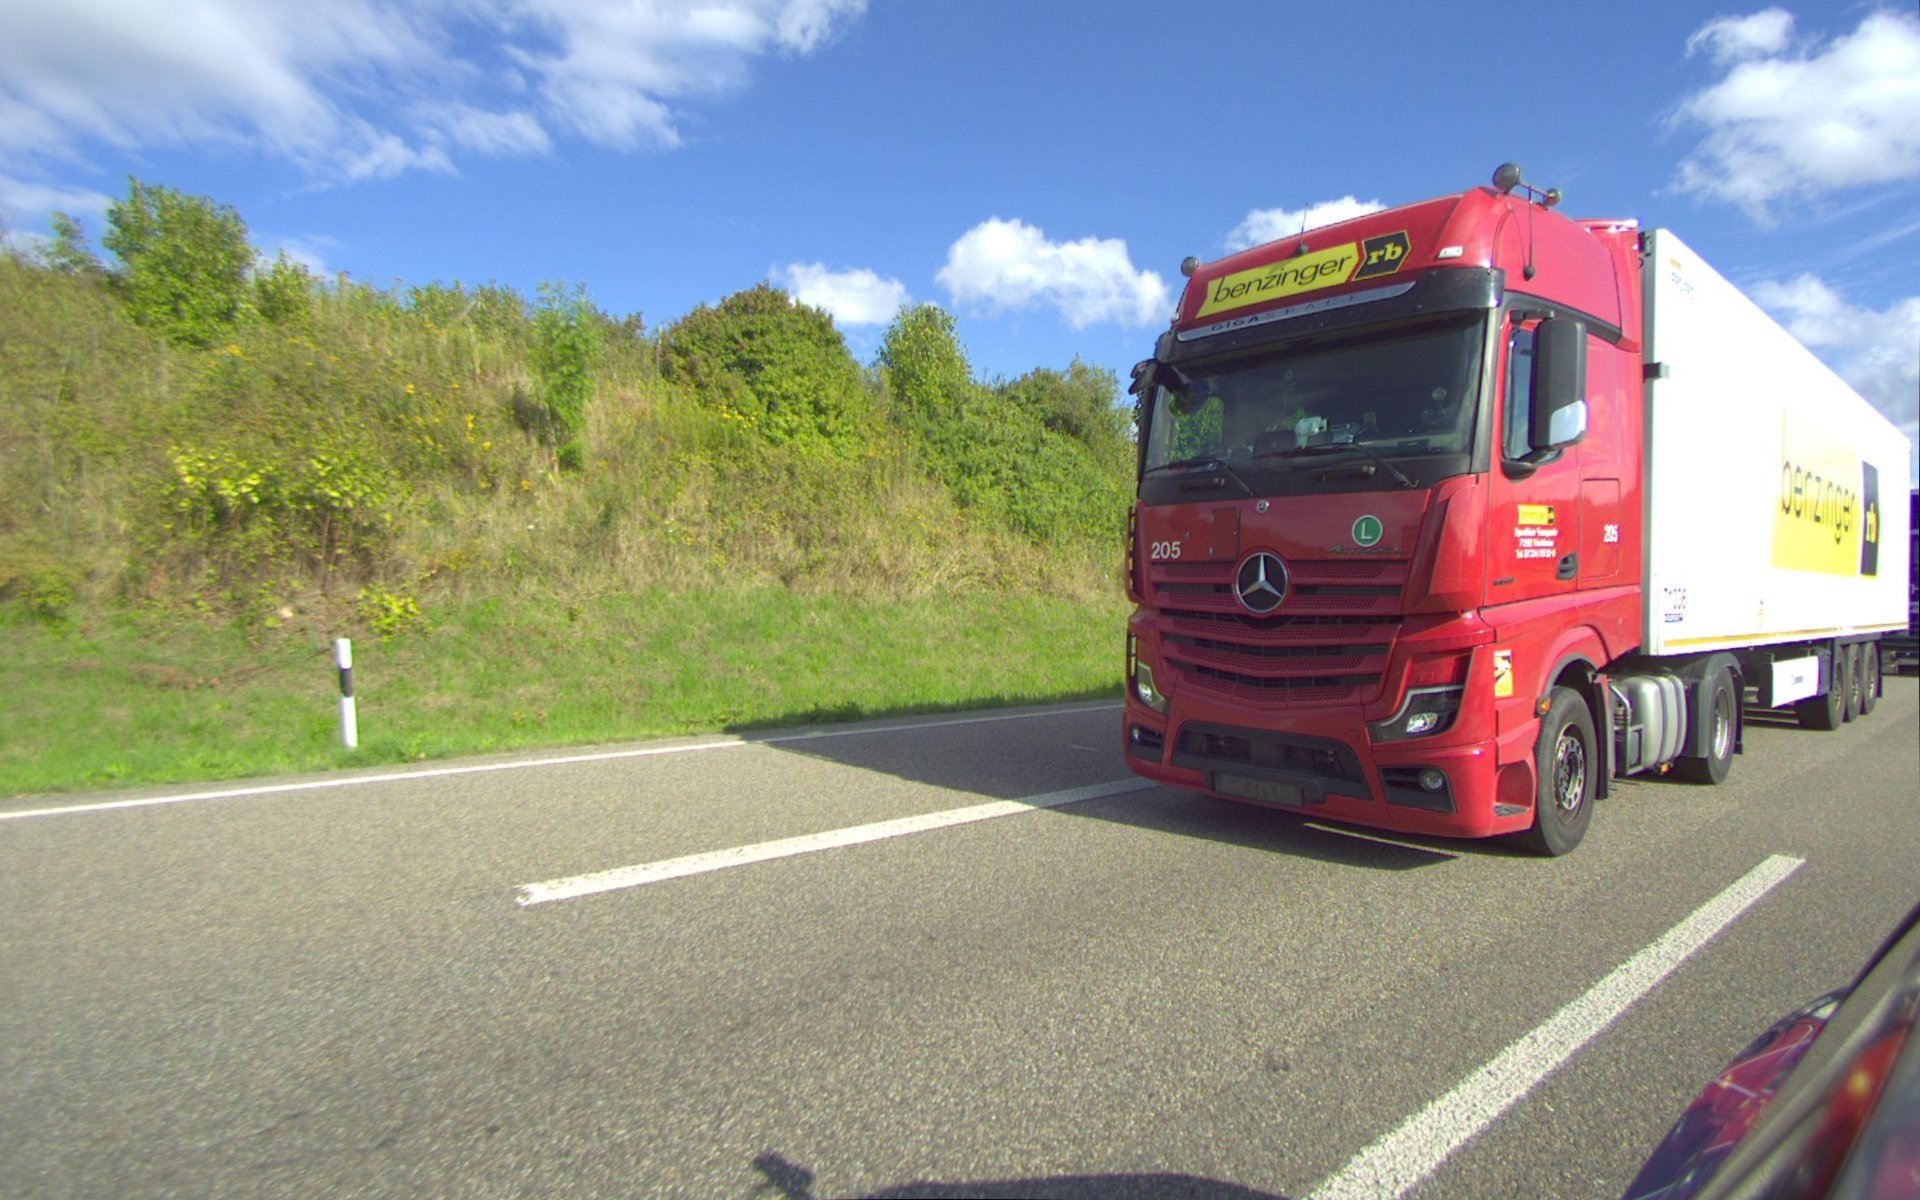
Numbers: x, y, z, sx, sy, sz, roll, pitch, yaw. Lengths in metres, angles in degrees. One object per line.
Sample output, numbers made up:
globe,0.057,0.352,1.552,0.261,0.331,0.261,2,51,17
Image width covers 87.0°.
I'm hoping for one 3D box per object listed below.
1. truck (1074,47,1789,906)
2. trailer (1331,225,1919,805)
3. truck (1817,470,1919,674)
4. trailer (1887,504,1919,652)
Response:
truck,3.850,-0.594,7.651,5.724,3.989,2.806,0,0,-41
trailer,9.092,-0.632,12.243,12.842,3.989,2.796,-1,0,-41
truck,22.955,-0.592,23.703,10.025,4.090,2.744,0,-2,-41
trailer,29.783,-0.610,29.707,8.559,4.012,2.719,0,-3,-41
